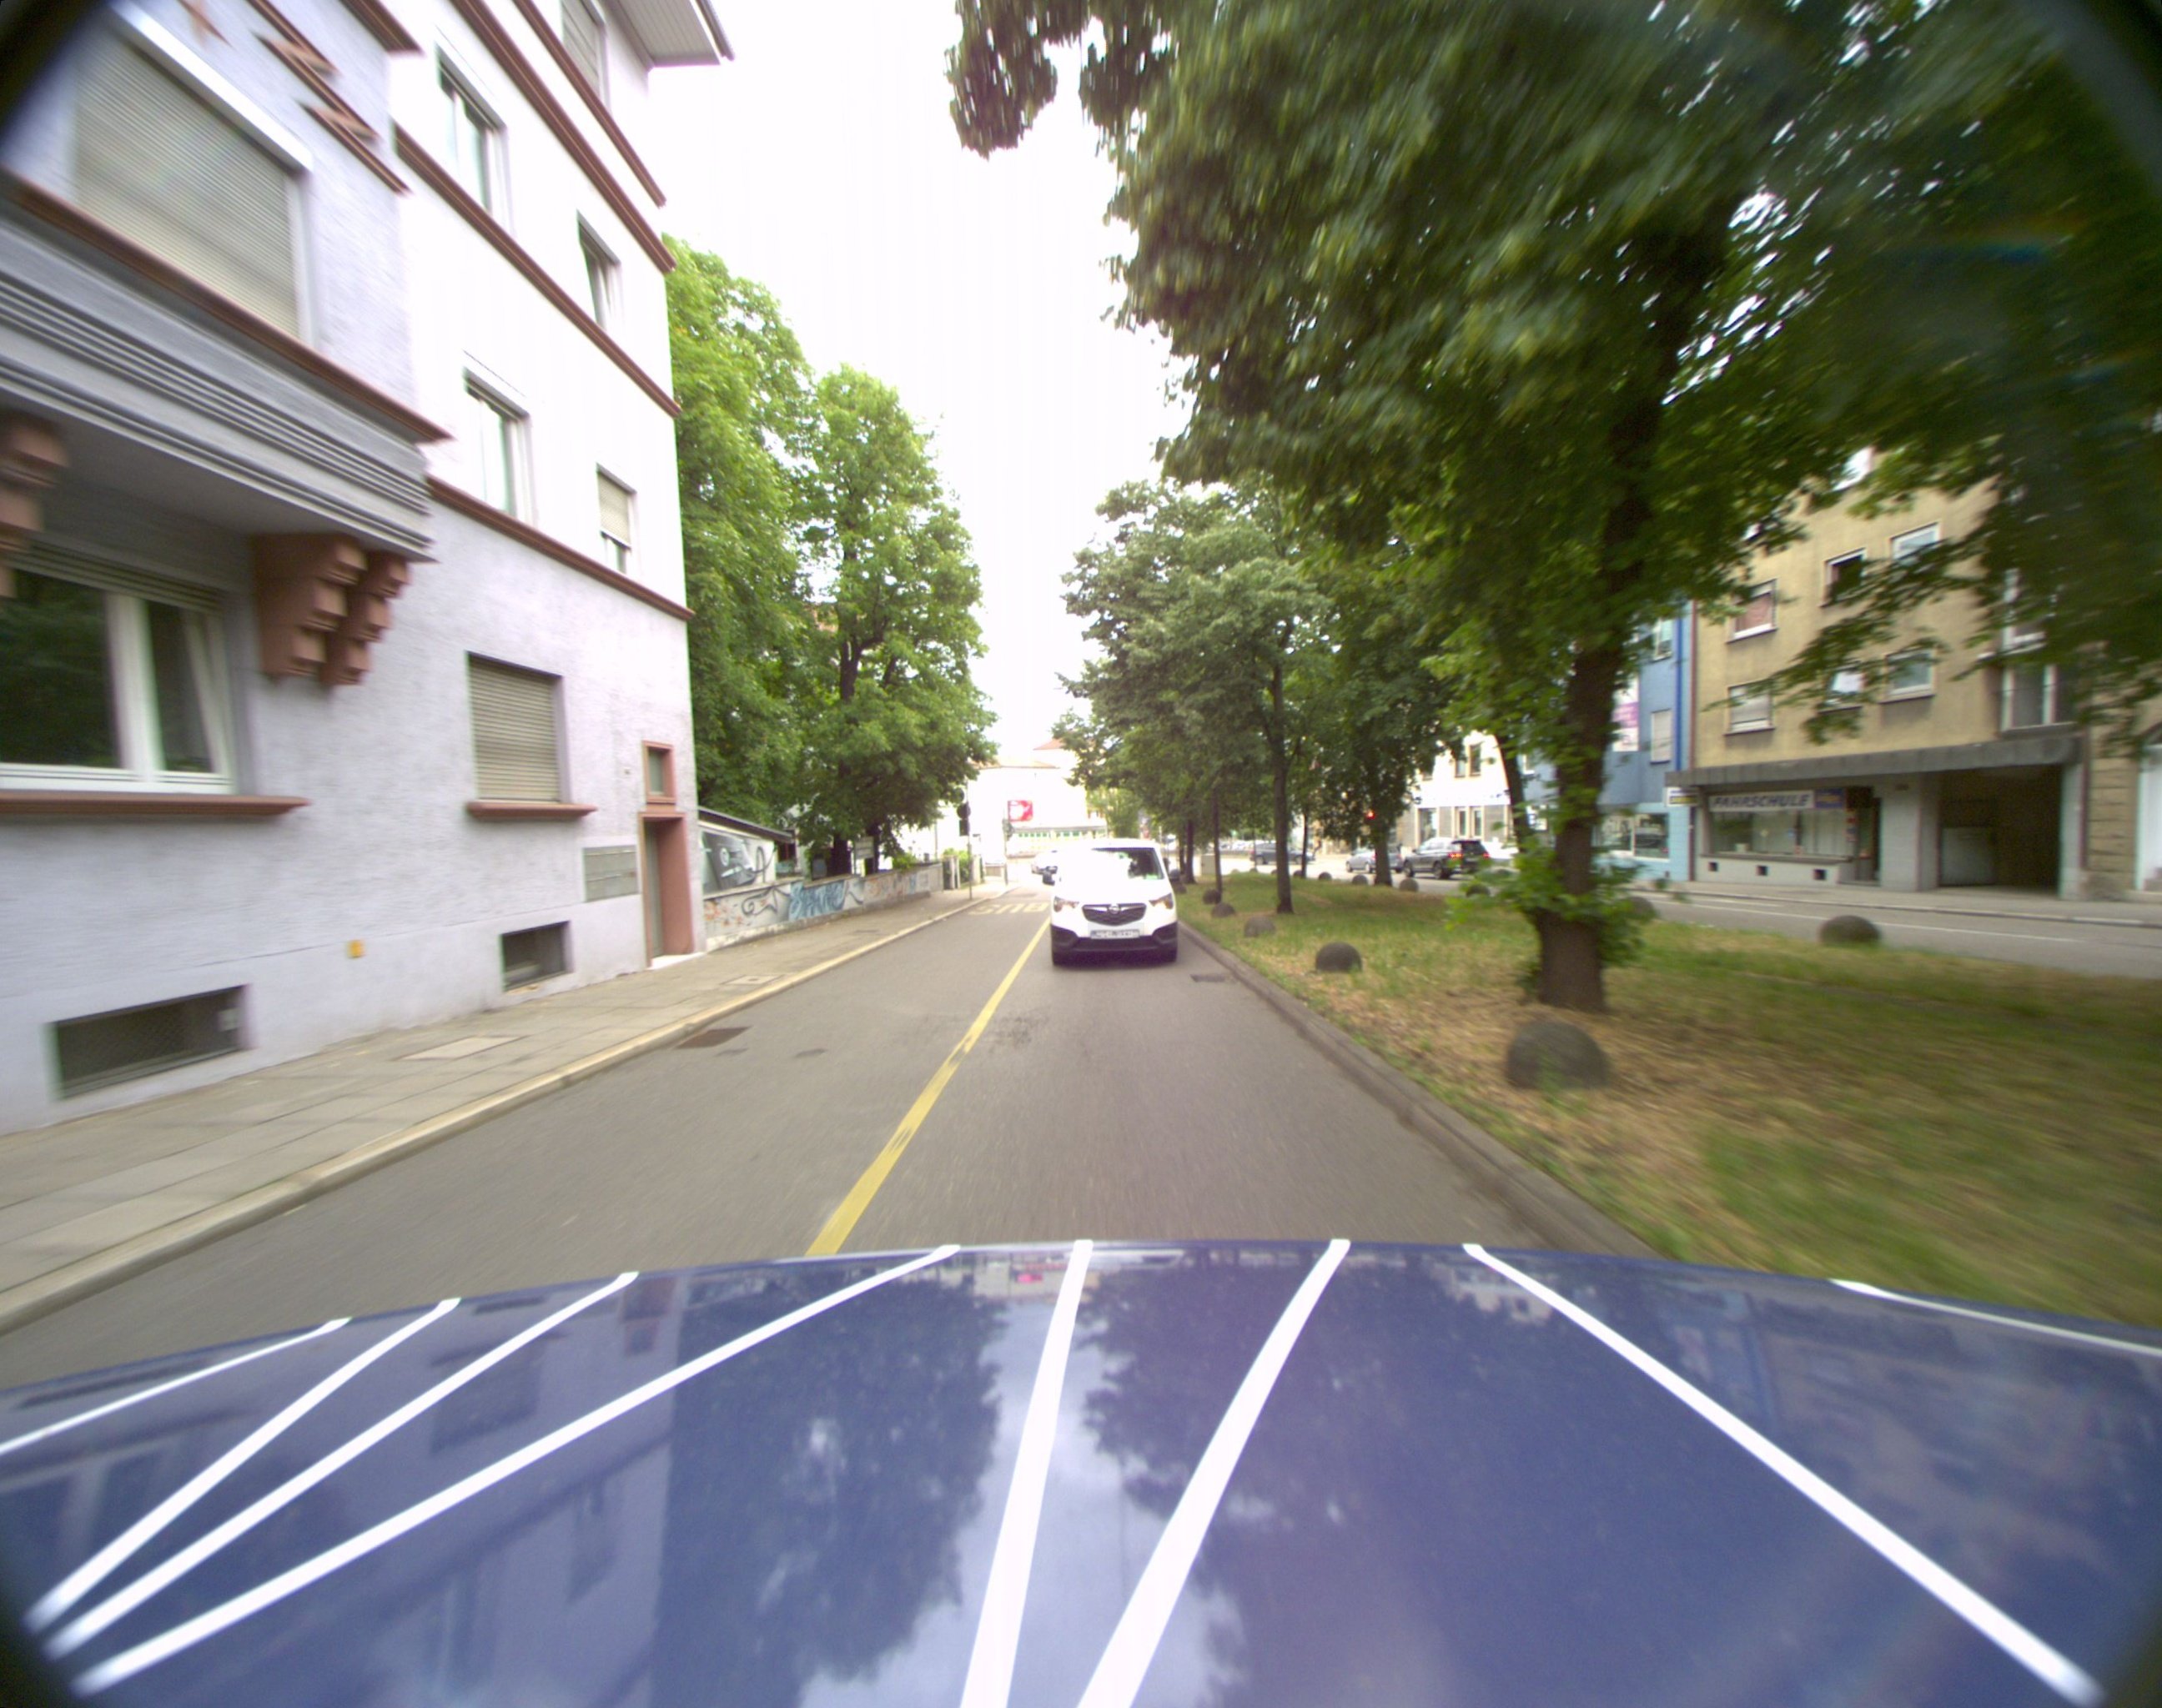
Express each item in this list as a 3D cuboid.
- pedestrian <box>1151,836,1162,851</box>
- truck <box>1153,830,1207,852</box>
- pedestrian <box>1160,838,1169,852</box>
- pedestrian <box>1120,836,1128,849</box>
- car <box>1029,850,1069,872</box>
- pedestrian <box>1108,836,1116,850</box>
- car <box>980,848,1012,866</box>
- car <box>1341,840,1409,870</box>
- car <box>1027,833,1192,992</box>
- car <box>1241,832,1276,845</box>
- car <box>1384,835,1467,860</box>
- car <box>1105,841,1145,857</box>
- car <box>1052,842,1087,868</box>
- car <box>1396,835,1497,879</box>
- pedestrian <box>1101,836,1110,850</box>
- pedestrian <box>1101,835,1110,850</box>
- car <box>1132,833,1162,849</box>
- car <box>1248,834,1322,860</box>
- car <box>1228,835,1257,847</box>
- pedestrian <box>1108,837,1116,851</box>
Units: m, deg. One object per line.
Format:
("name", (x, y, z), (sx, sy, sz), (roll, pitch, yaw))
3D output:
("pedestrian", (7.804, -1.088, 78.427), (0.707, 1.574, 0.801), (-5, 4, -33))
("truck", (12.702, -1.702, 97.216), (6.466, 2.707, 2.765), (-2, 1, -33))
("pedestrian", (8.475, -0.936, 77.072), (0.606, 1.424, 0.600), (-5, 4, -33))
("pedestrian", (5.475, -1.425, 96.478), (0.867, 1.610, 0.919), (-2, 3, 13))
("car", (-2.440, 0.522, 57.336), (2.041, 1.541, 4.030), (-3, 1, -16))
("pedestrian", (3.523, -1.279, 86.787), (0.607, 1.610, 0.553), (-5, 4, -34))
("car", (-8.164, 0.319, 72.594), (1.956, 1.541, 4.028), (-3, 1, -22))
("car", (14.861, 0.031, 38.662), (1.673, 1.398, 4.293), (-1, 0, -2))
("car", (0.458, 0.660, 11.312), (1.857, 1.799, 4.729), (-3, 1, 3))
("car", (22.933, -2.007, 98.027), (1.896, 1.590, 3.922), (-6, 4, -44))
("car", (23.109, -0.473, 51.126), (4.732, 1.412, 1.842), (-2, 3, 8))
("car", (4.279, -0.519, 74.175), (1.799, 1.422, 3.951), (-5, 3, -34))
("car", (-1.048, 0.050, 68.252), (2.001, 2.003, 4.262), (-4, 3, -16))
("car", (14.771, 0.063, 31.012), (1.820, 1.627, 4.677), (0, 2, -1))
("pedestrian", (2.847, -1.278, 87.466), (0.770, 1.610, 0.651), (-1, 4, 32))
("pedestrian", (2.884, -1.351, 89.005), (0.773, 1.610, 0.648), (-5, 4, -37))
("car", (7.909, -1.585, 90.337), (2.207, 1.563, 4.482), (-2, 3, 23))
("car", (14.383, -0.474, 53.611), (4.717, 1.605, 1.861), (-2, 2, 27))
("car", (24.811, -2.002, 116.574), (3.922, 1.590, 1.896), (-1, 4, 38))
("pedestrian", (3.862, -1.254, 94.486), (0.867, 1.610, 0.919), (-2, 3, 13))
